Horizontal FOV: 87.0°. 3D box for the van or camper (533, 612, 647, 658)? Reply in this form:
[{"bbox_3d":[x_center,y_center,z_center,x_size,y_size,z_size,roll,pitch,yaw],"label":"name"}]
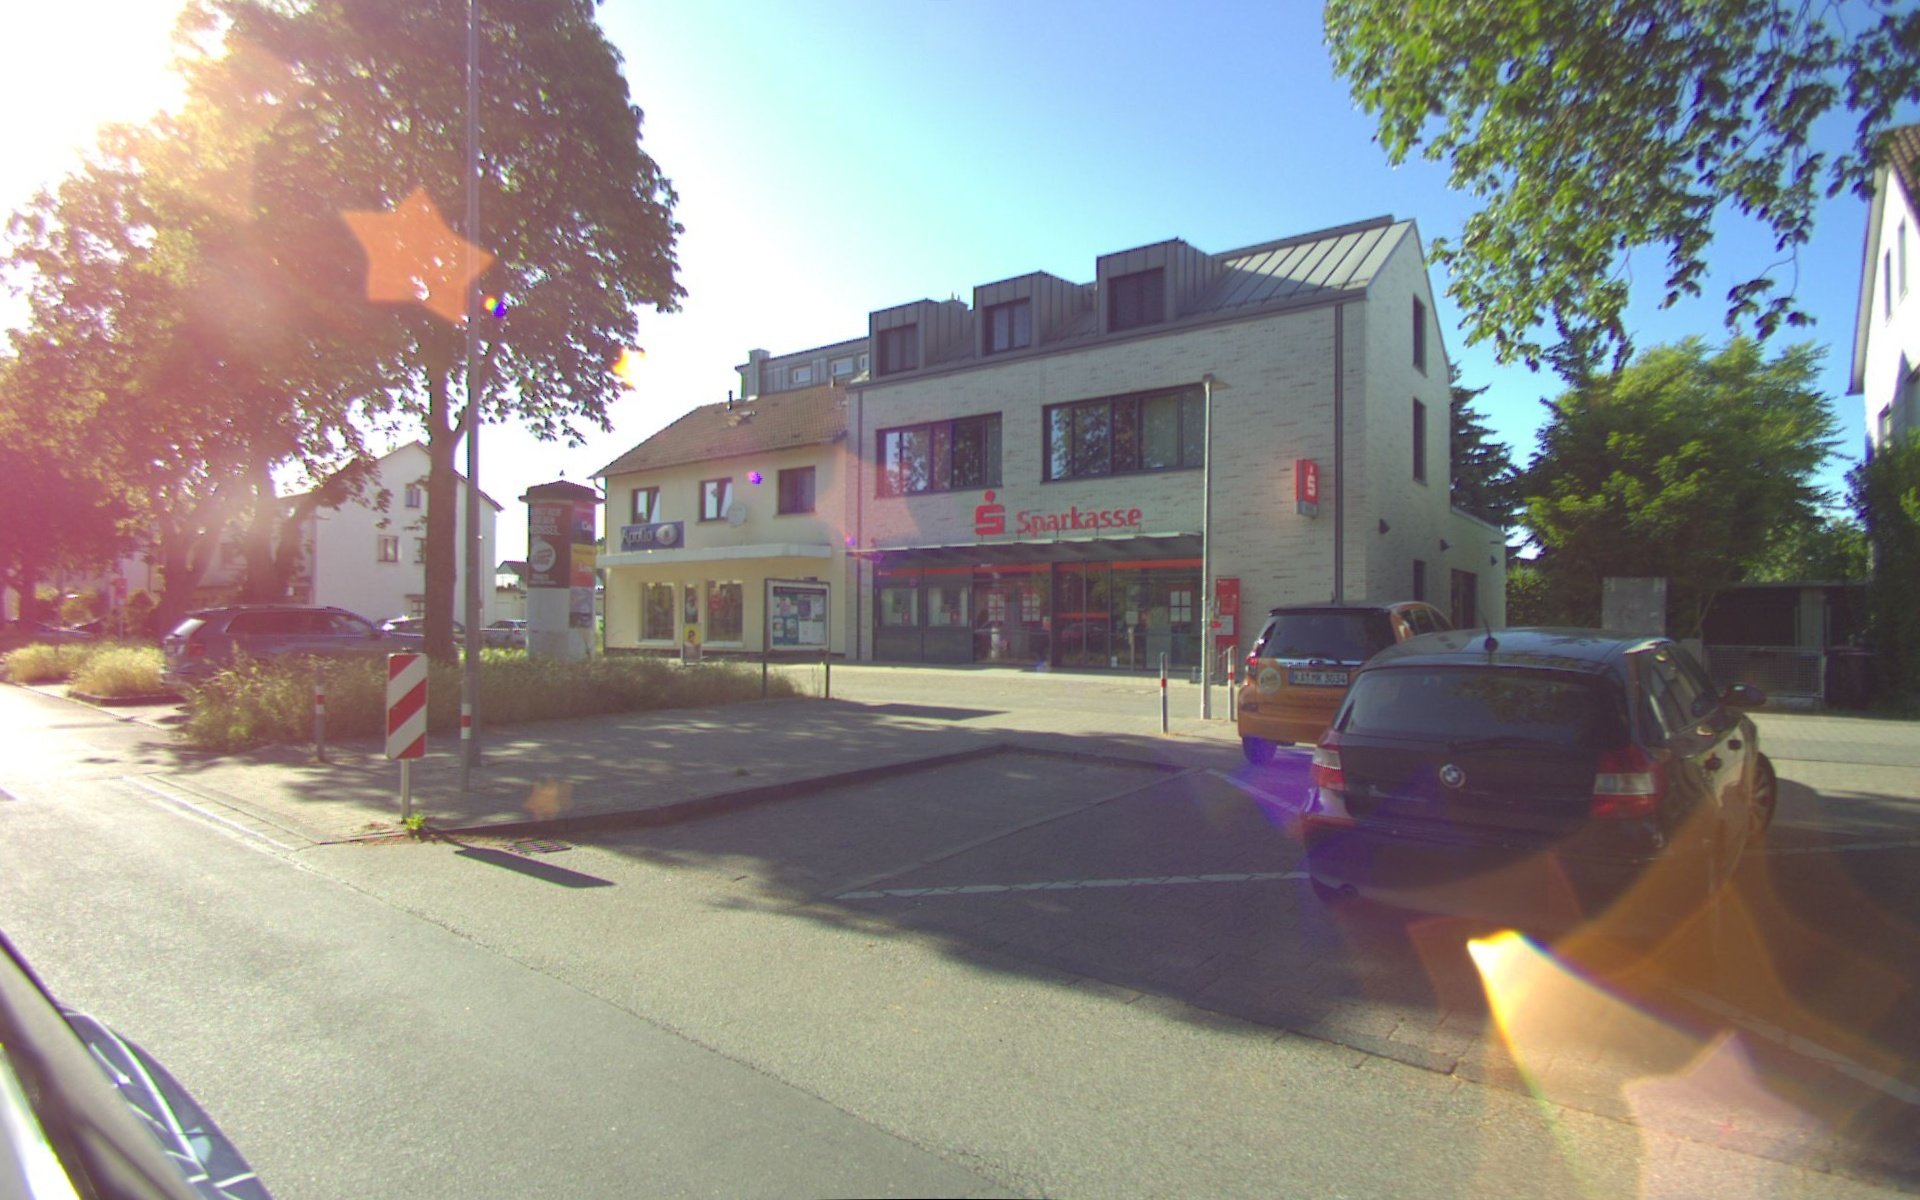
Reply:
[{"bbox_3d":[-17.126,1.590,47.001,1.997,2.029,4.629,-1,-1,37],"label":"van or camper"}]

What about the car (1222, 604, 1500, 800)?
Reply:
[{"bbox_3d":[4.291,0.848,10.447,1.865,1.554,3.954,-1,0,34],"label":"car"}]

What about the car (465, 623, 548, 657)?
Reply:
[{"bbox_3d":[-23.716,2.036,52.874,4.659,1.539,1.856,1,0,35],"label":"car"}]

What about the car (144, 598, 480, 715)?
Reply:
[{"bbox_3d":[-12.182,0.947,19.412,1.996,1.740,5.017,-1,2,36],"label":"car"}]

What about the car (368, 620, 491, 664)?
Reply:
[{"bbox_3d":[-21.404,1.693,40.961,1.994,1.650,3.954,-1,-2,33],"label":"car"}]

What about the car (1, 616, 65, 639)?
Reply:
[{"bbox_3d":[-82.309,2.421,89.888,1.998,1.696,3.948,0,2,39],"label":"car"}]

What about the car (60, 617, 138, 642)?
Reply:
[{"bbox_3d":[-57.055,1.968,67.084,1.691,1.577,3.723,0,-2,43],"label":"car"}]

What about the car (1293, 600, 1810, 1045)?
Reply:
[{"bbox_3d":[3.476,0.782,5.556,1.639,1.460,3.944,0,1,43],"label":"car"}]

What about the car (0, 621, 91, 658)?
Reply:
[{"bbox_3d":[-40.672,1.708,43.828,1.998,1.426,4.339,0,0,39],"label":"car"}]

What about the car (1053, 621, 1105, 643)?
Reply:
[{"bbox_3d":[9.937,2.624,84.249,1.998,1.593,4.846,1,1,39],"label":"car"}]
